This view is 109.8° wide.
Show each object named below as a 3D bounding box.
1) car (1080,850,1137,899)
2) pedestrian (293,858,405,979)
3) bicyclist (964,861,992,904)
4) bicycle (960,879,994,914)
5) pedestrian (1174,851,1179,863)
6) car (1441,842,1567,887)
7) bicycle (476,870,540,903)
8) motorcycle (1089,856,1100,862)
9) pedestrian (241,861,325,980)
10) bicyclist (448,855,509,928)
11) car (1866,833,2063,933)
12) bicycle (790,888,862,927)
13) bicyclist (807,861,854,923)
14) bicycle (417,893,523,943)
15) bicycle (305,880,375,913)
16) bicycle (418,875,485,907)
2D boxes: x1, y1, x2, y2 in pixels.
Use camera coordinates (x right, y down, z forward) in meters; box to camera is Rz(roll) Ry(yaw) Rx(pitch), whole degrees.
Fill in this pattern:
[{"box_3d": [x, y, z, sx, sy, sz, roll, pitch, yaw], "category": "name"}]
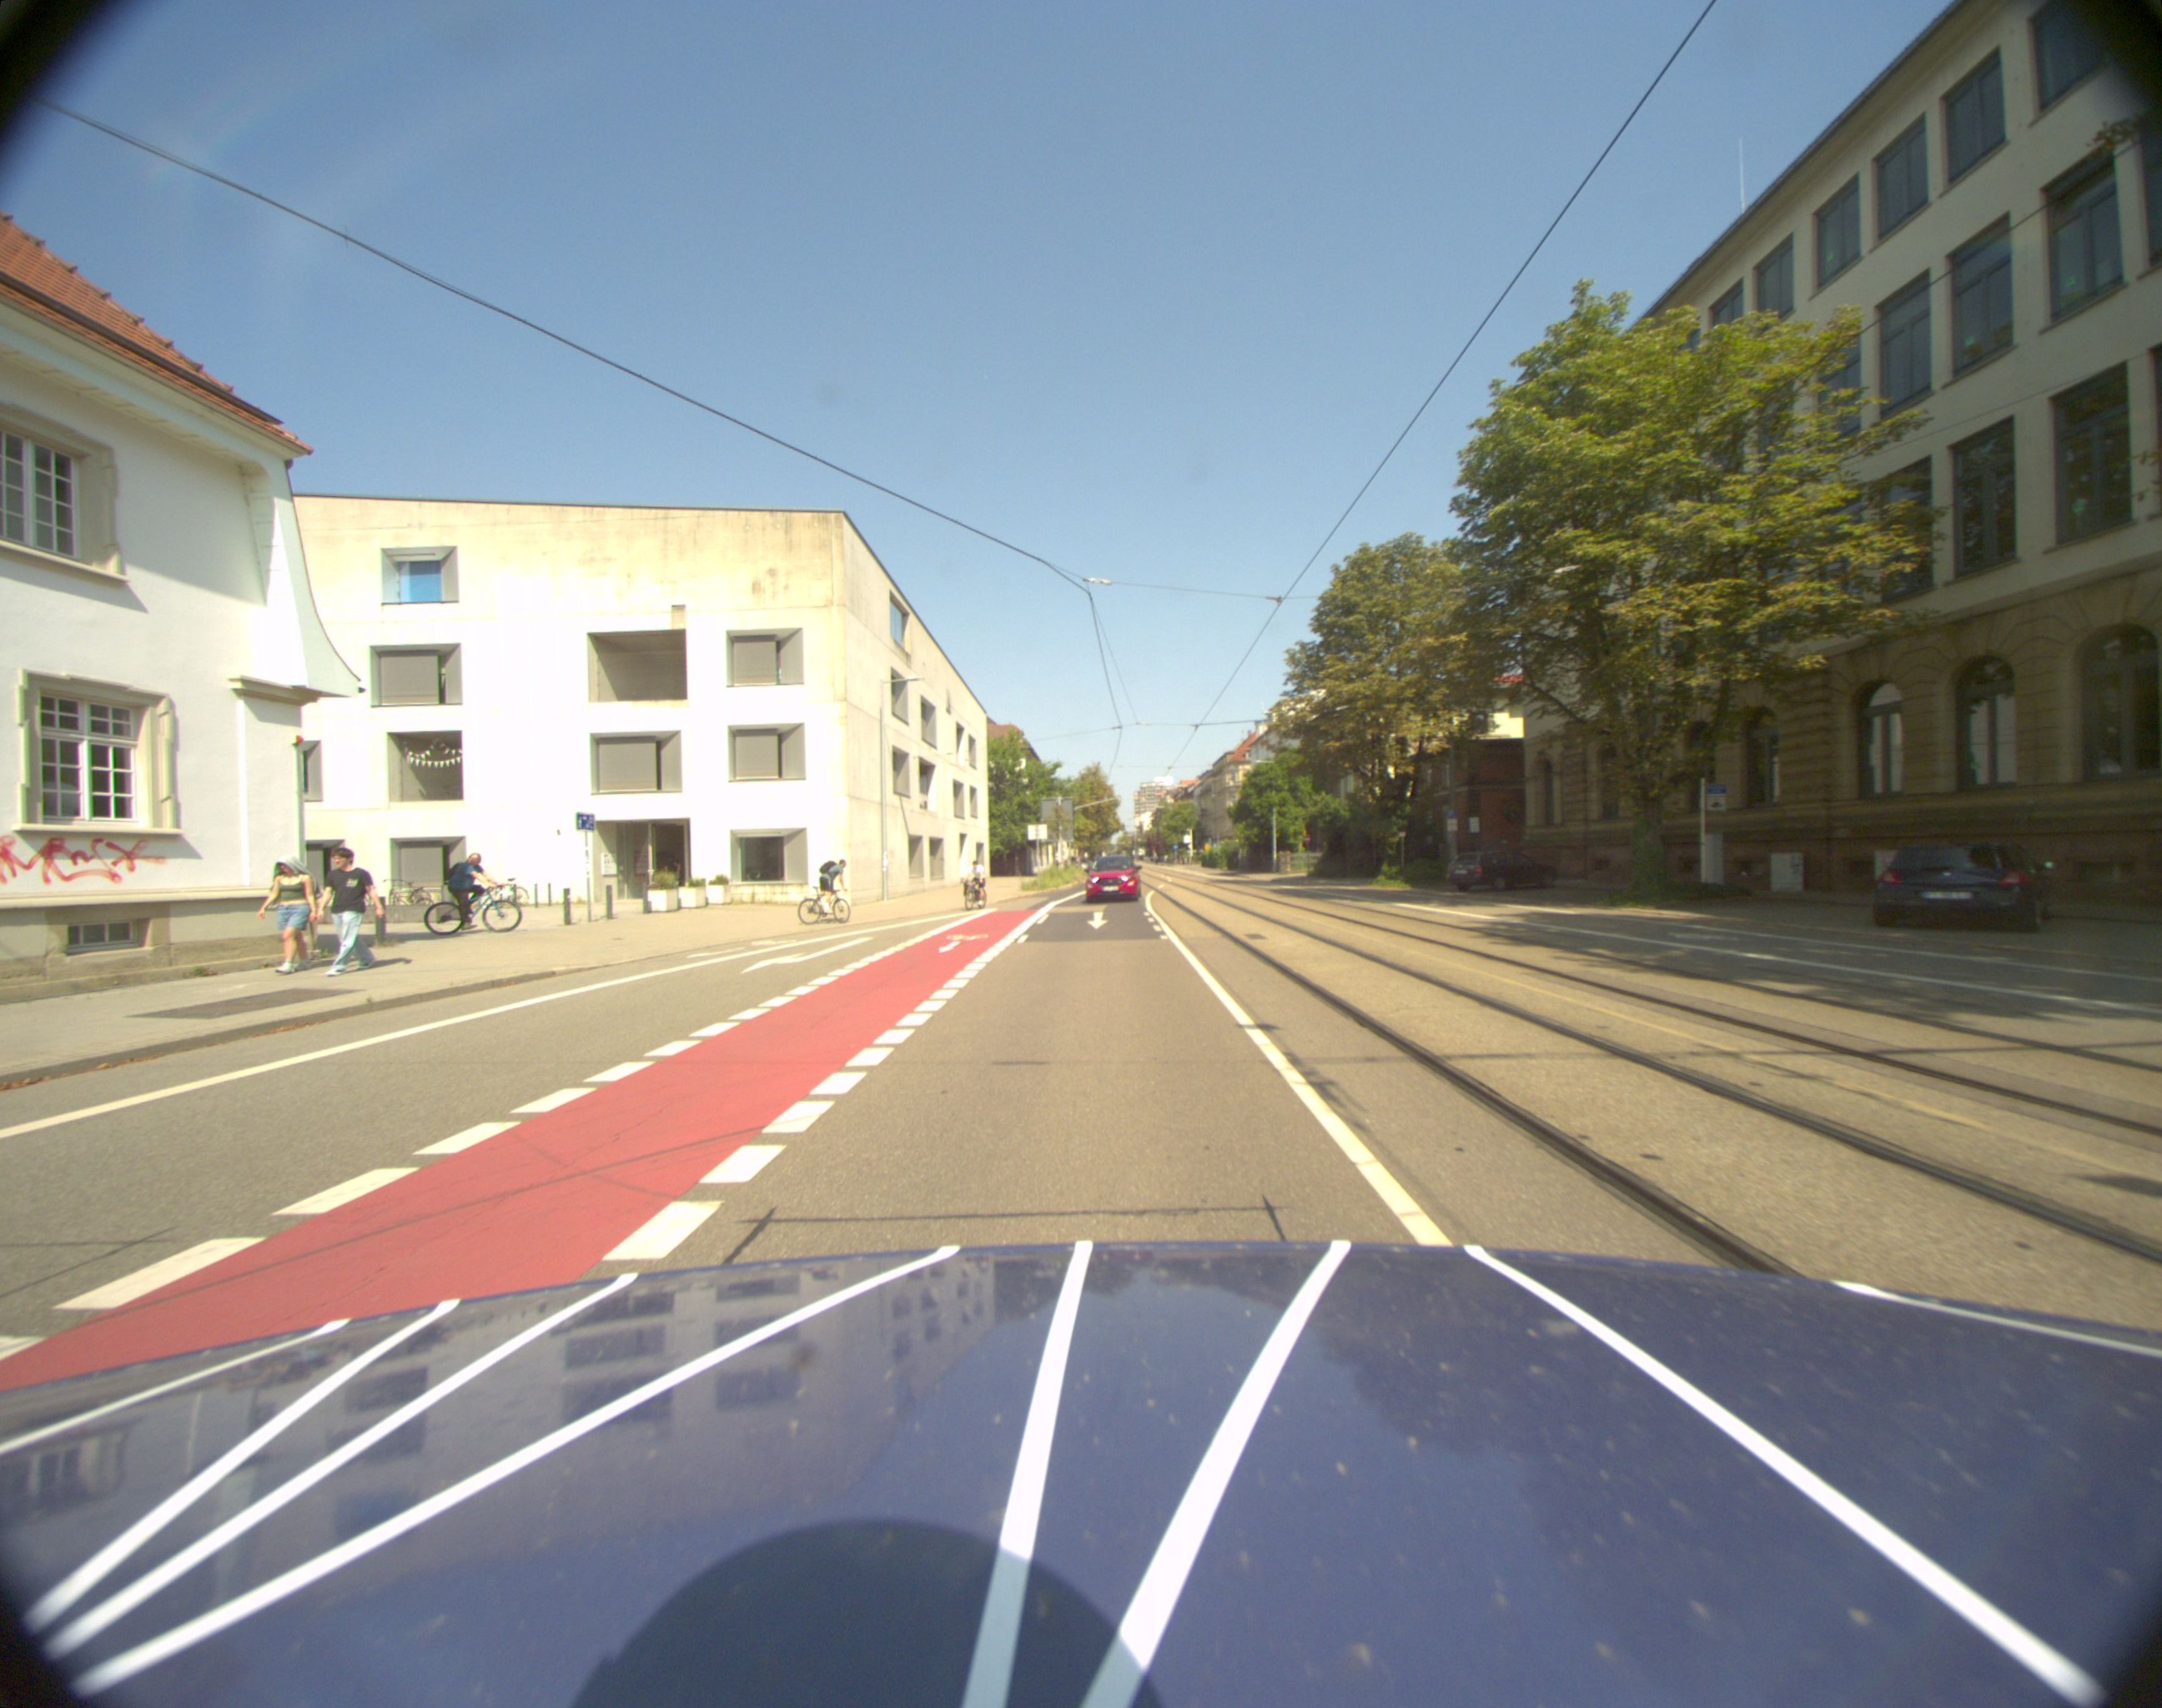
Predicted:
[{"box_3d": [1.001, 0.664, 26.593, 1.815, 1.542, 4.022, -2, 0, 3], "category": "car"}, {"box_3d": [-10.540, 0.902, 10.979, 0.729, 1.656, 0.879, -2, 0, -4], "category": "pedestrian"}, {"box_3d": [-3.510, 0.968, 26.010, 0.746, 1.403, 0.962, -1, 0, 2], "category": "bicyclist"}, {"box_3d": [-3.519, 1.419, 25.852, 0.741, 1.042, 2.233, -1, 0, 2], "category": "bicycle"}, {"box_3d": [16.412, 0.510, 130.973, 0.657, 2.002, 0.974, -1, 0, 0], "category": "pedestrian"}, {"box_3d": [15.785, 0.374, 28.332, 4.434, 1.453, 1.817, -2, 0, -25], "category": "car"}, {"box_3d": [-18.905, 1.055, 25.096, 0.619, 0.949, 1.685, -1, 2, 9], "category": "bicycle"}, {"box_3d": [2.481, 0.973, 143.108, 1.999, 1.009, 0.797, 2, 0, 2], "category": "motorcycle"}, {"box_3d": [-11.383, 0.931, 10.851, 0.619, 1.656, 0.487, -2, 0, 1], "category": "pedestrian"}, {"box_3d": [-13.157, 0.810, 16.620, 0.905, 1.530, 0.627, 1, 1, -27], "category": "bicyclist"}, {"box_3d": [15.441, 0.416, 13.227, 4.171, 1.487, 1.816, -1, 0, -35], "category": "car"}, {"box_3d": [-6.820, 1.418, 20.370, 1.715, 0.994, 0.614, 2, -1, -45], "category": "bicycle"}, {"box_3d": [-6.745, 1.009, 20.460, 0.994, 1.589, 0.626, -2, 1, -44], "category": "bicyclist"}, {"box_3d": [-13.279, 1.371, 16.574, 1.714, 0.994, 0.614, 0, 0, -28], "category": "bicycle"}, {"box_3d": [-24.749, 1.411, 25.426, 0.615, 0.994, 1.666, -2, 0, 3], "category": "bicycle"}, {"box_3d": [-20.871, 1.204, 25.230, 0.615, 0.994, 1.668, 1, 0, 13], "category": "bicycle"}]
